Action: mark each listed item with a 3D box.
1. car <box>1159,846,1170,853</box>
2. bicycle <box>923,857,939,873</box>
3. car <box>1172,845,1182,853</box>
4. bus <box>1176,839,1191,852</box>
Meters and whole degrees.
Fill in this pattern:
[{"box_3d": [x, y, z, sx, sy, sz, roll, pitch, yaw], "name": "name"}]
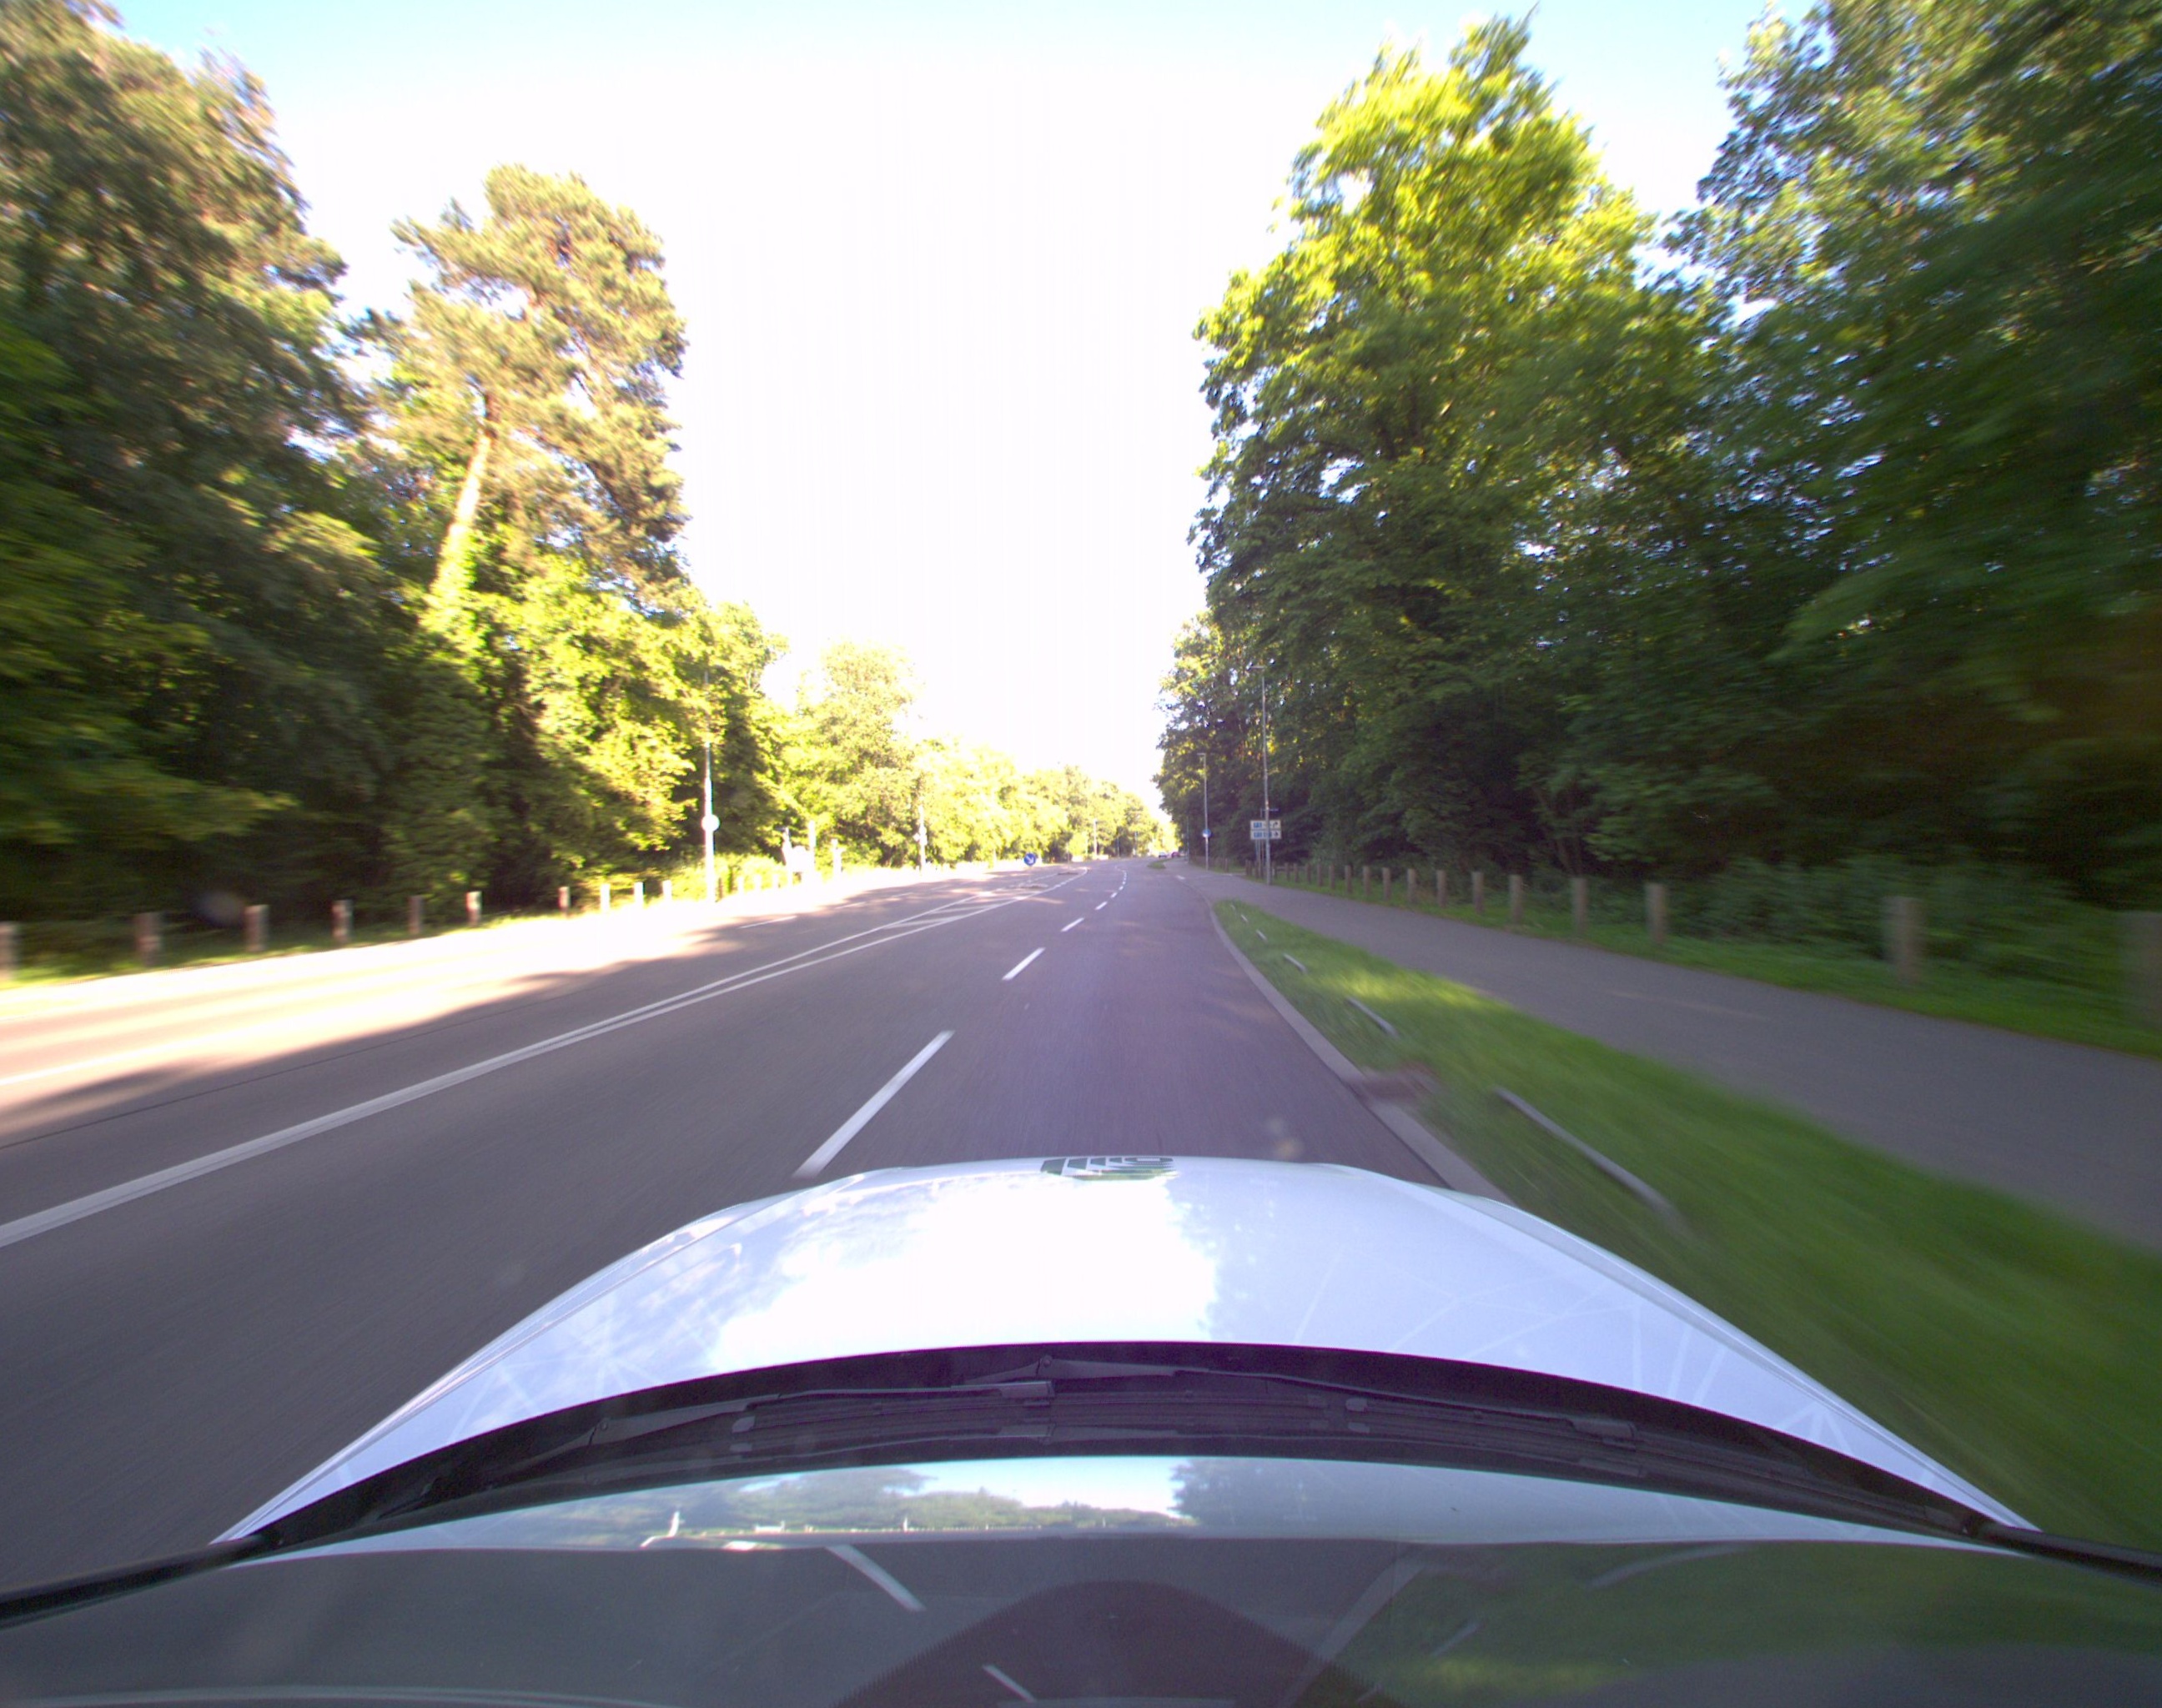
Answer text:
[{"box_3d": [20.290, -1.132, 196.700, 1.866, 1.709, 4.018, -2, 1, 16], "name": "car"}, {"box_3d": [-11.571, 0.843, 62.940, 0.398, 1.132, 2.228, 0, 0, 13], "name": "bicycle"}, {"box_3d": [23.442, -1.220, 198.725, 1.866, 1.765, 4.018, -2, 1, 16], "name": "car"}, {"box_3d": [26.685, -2.280, 212.178, 2.585, 3.368, 8.010, -1, 1, 16], "name": "bus"}]
